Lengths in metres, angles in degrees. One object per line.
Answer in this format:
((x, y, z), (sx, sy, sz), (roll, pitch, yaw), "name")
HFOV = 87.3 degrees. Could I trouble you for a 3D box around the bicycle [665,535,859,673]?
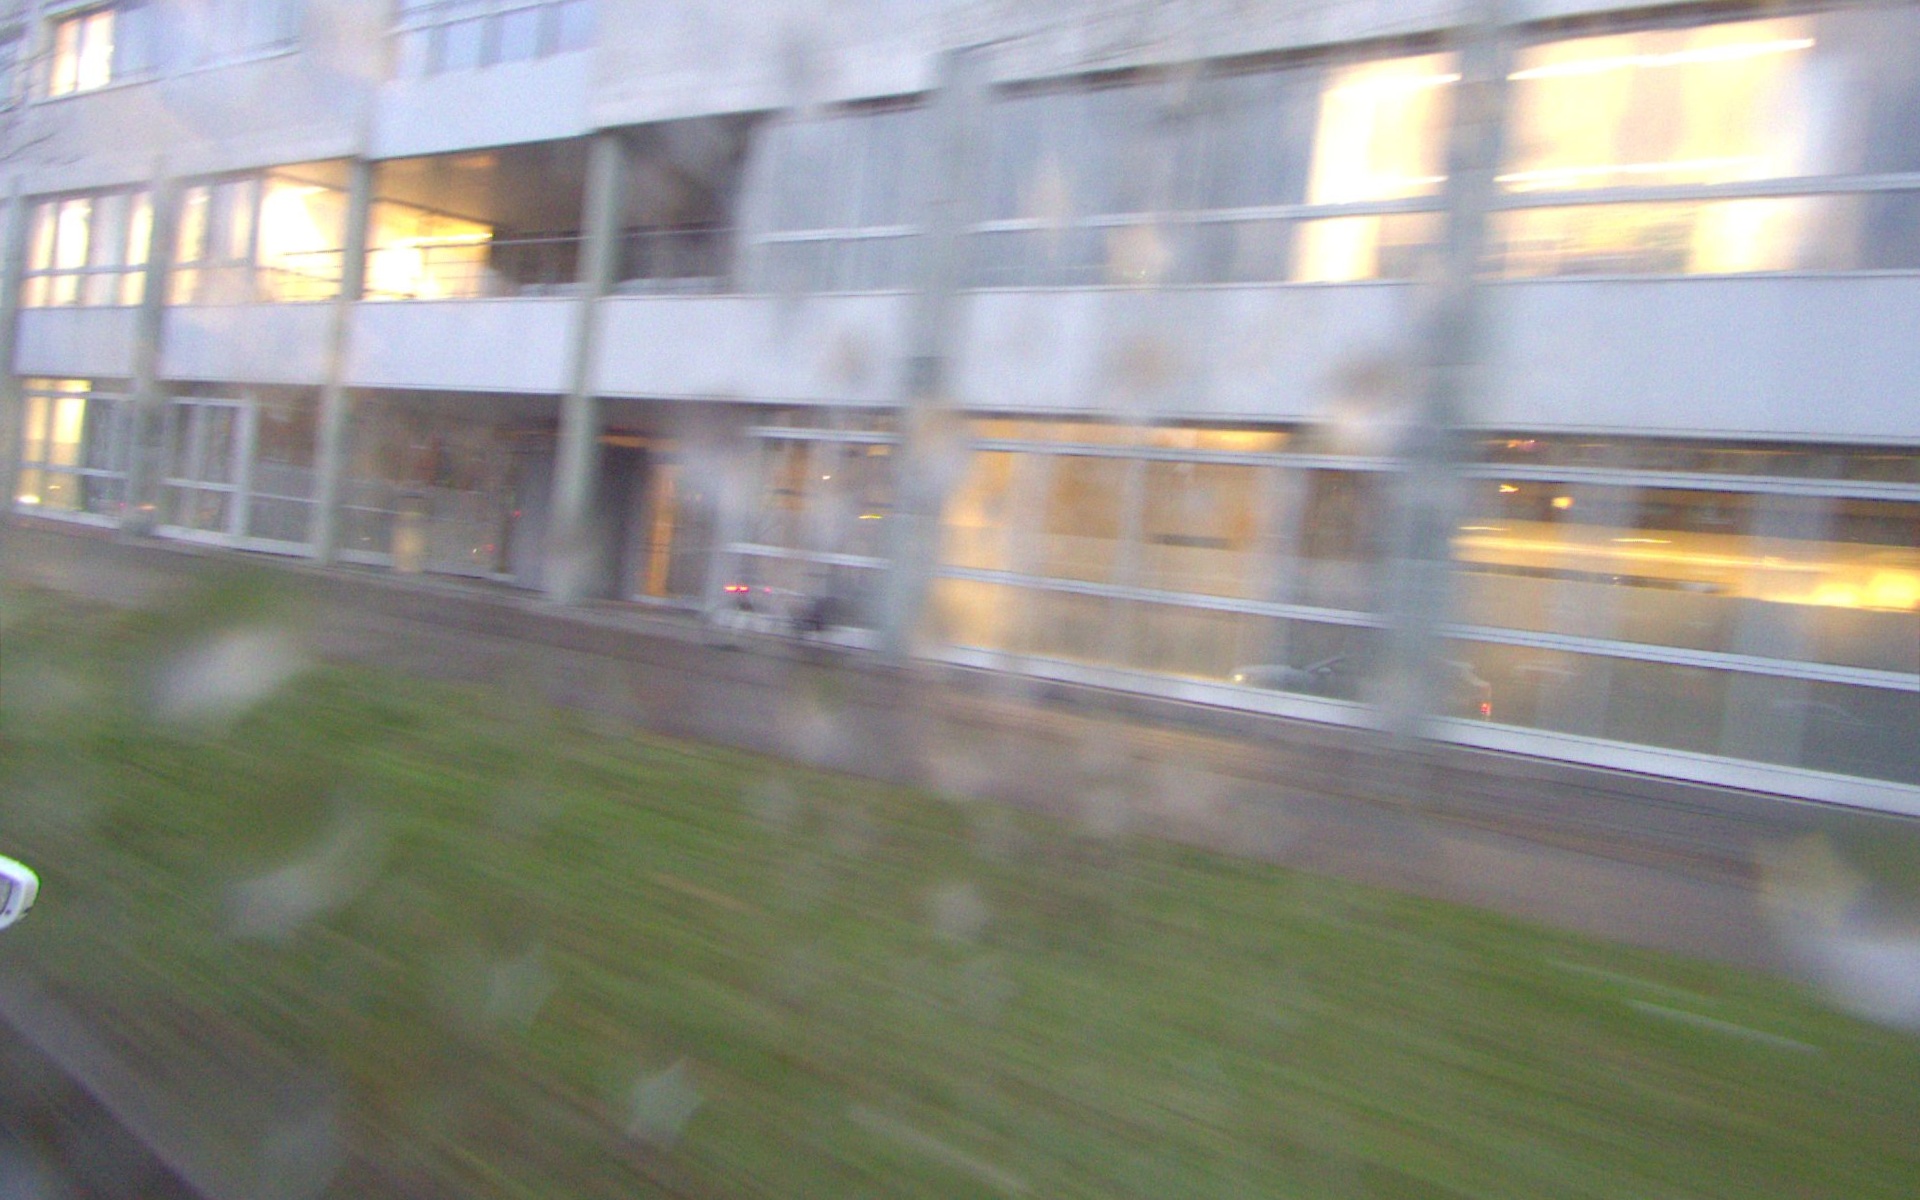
((-2.329, -0.002, 11.582), (2.423, 1.291, 0.820), (8, 5, 41), "bicycle")
